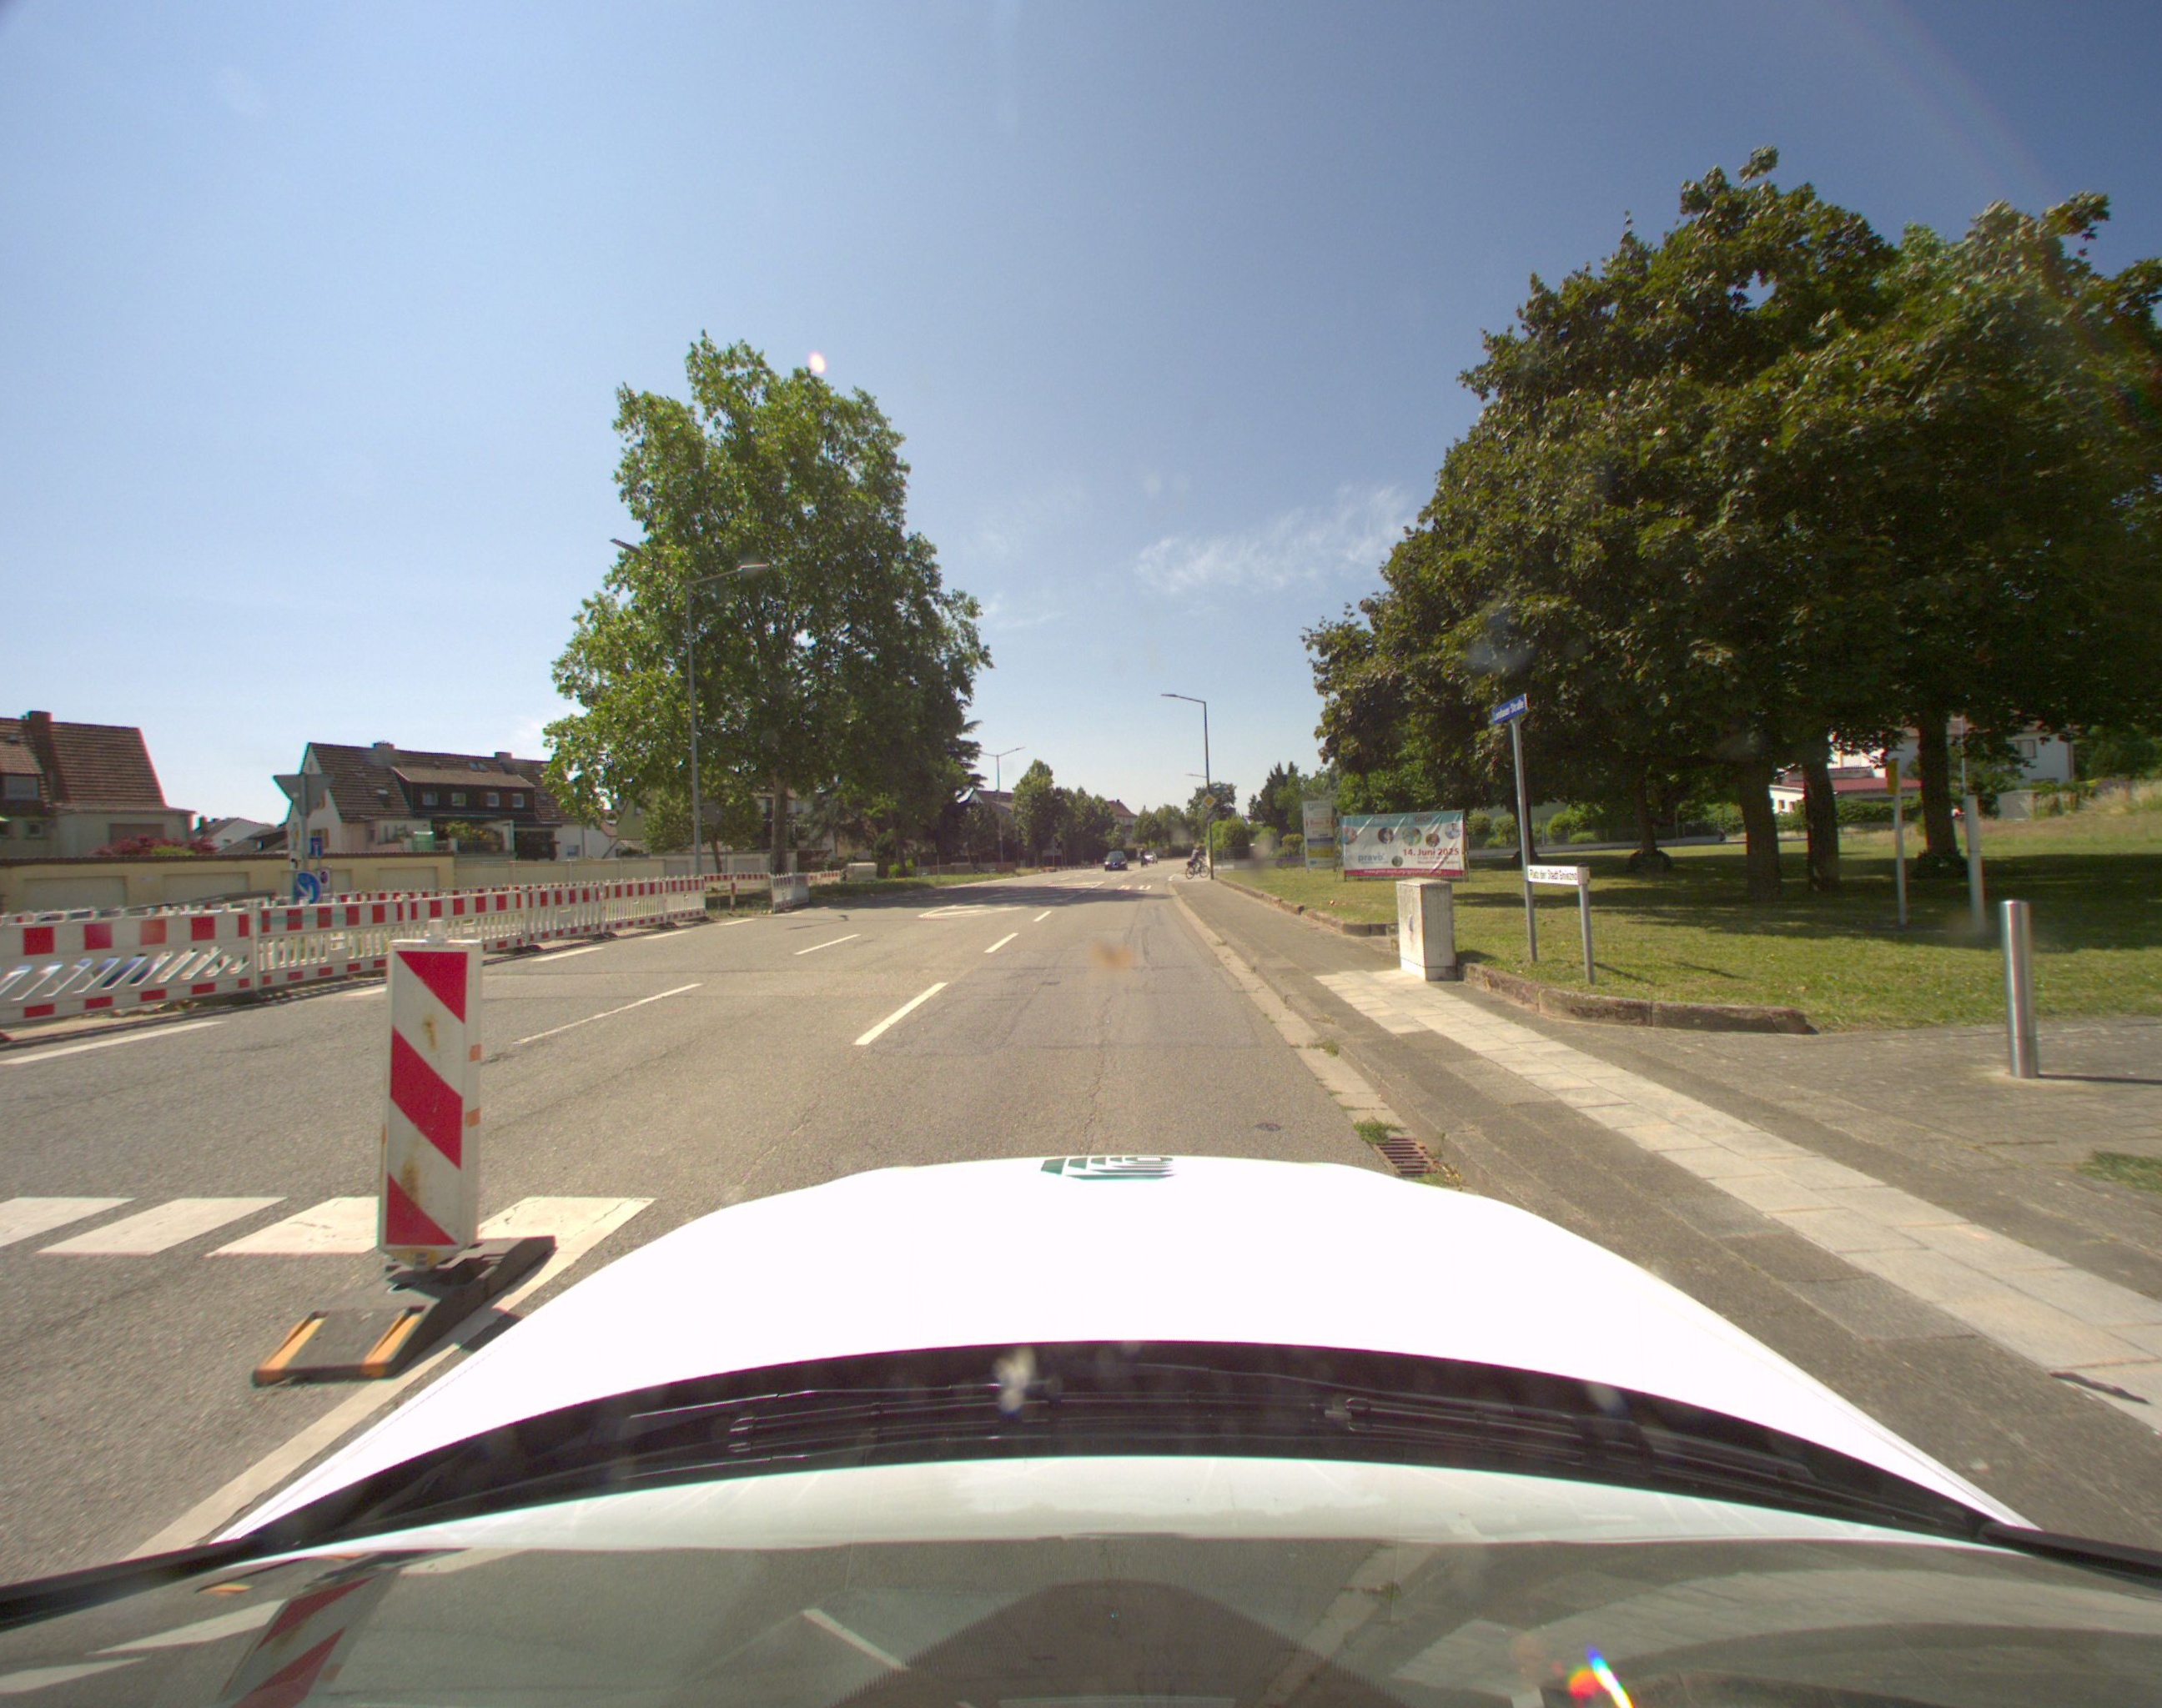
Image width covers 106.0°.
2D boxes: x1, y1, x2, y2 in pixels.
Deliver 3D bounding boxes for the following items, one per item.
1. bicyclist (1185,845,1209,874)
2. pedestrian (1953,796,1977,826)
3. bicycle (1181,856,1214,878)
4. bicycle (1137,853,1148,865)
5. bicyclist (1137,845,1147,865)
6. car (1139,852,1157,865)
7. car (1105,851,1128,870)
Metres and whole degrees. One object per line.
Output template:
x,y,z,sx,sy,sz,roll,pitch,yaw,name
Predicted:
6.385,0.282,44.833,0.845,1.530,0.934,-3,0,39,bicyclist
56.359,-2.745,51.910,0.628,1.853,0.783,0,-1,-3,pedestrian
6.425,0.712,44.855,0.805,1.103,2.160,-3,0,39,bicycle
5.961,0.486,78.922,0.845,1.166,1.982,-3,-1,9,bicycle
5.939,0.108,78.936,0.841,1.865,0.979,-2,0,9,bicyclist
8.269,0.555,100.328,1.686,1.510,3.472,-1,0,14,car
3.011,0.528,68.591,1.716,1.532,3.837,-1,0,6,car
